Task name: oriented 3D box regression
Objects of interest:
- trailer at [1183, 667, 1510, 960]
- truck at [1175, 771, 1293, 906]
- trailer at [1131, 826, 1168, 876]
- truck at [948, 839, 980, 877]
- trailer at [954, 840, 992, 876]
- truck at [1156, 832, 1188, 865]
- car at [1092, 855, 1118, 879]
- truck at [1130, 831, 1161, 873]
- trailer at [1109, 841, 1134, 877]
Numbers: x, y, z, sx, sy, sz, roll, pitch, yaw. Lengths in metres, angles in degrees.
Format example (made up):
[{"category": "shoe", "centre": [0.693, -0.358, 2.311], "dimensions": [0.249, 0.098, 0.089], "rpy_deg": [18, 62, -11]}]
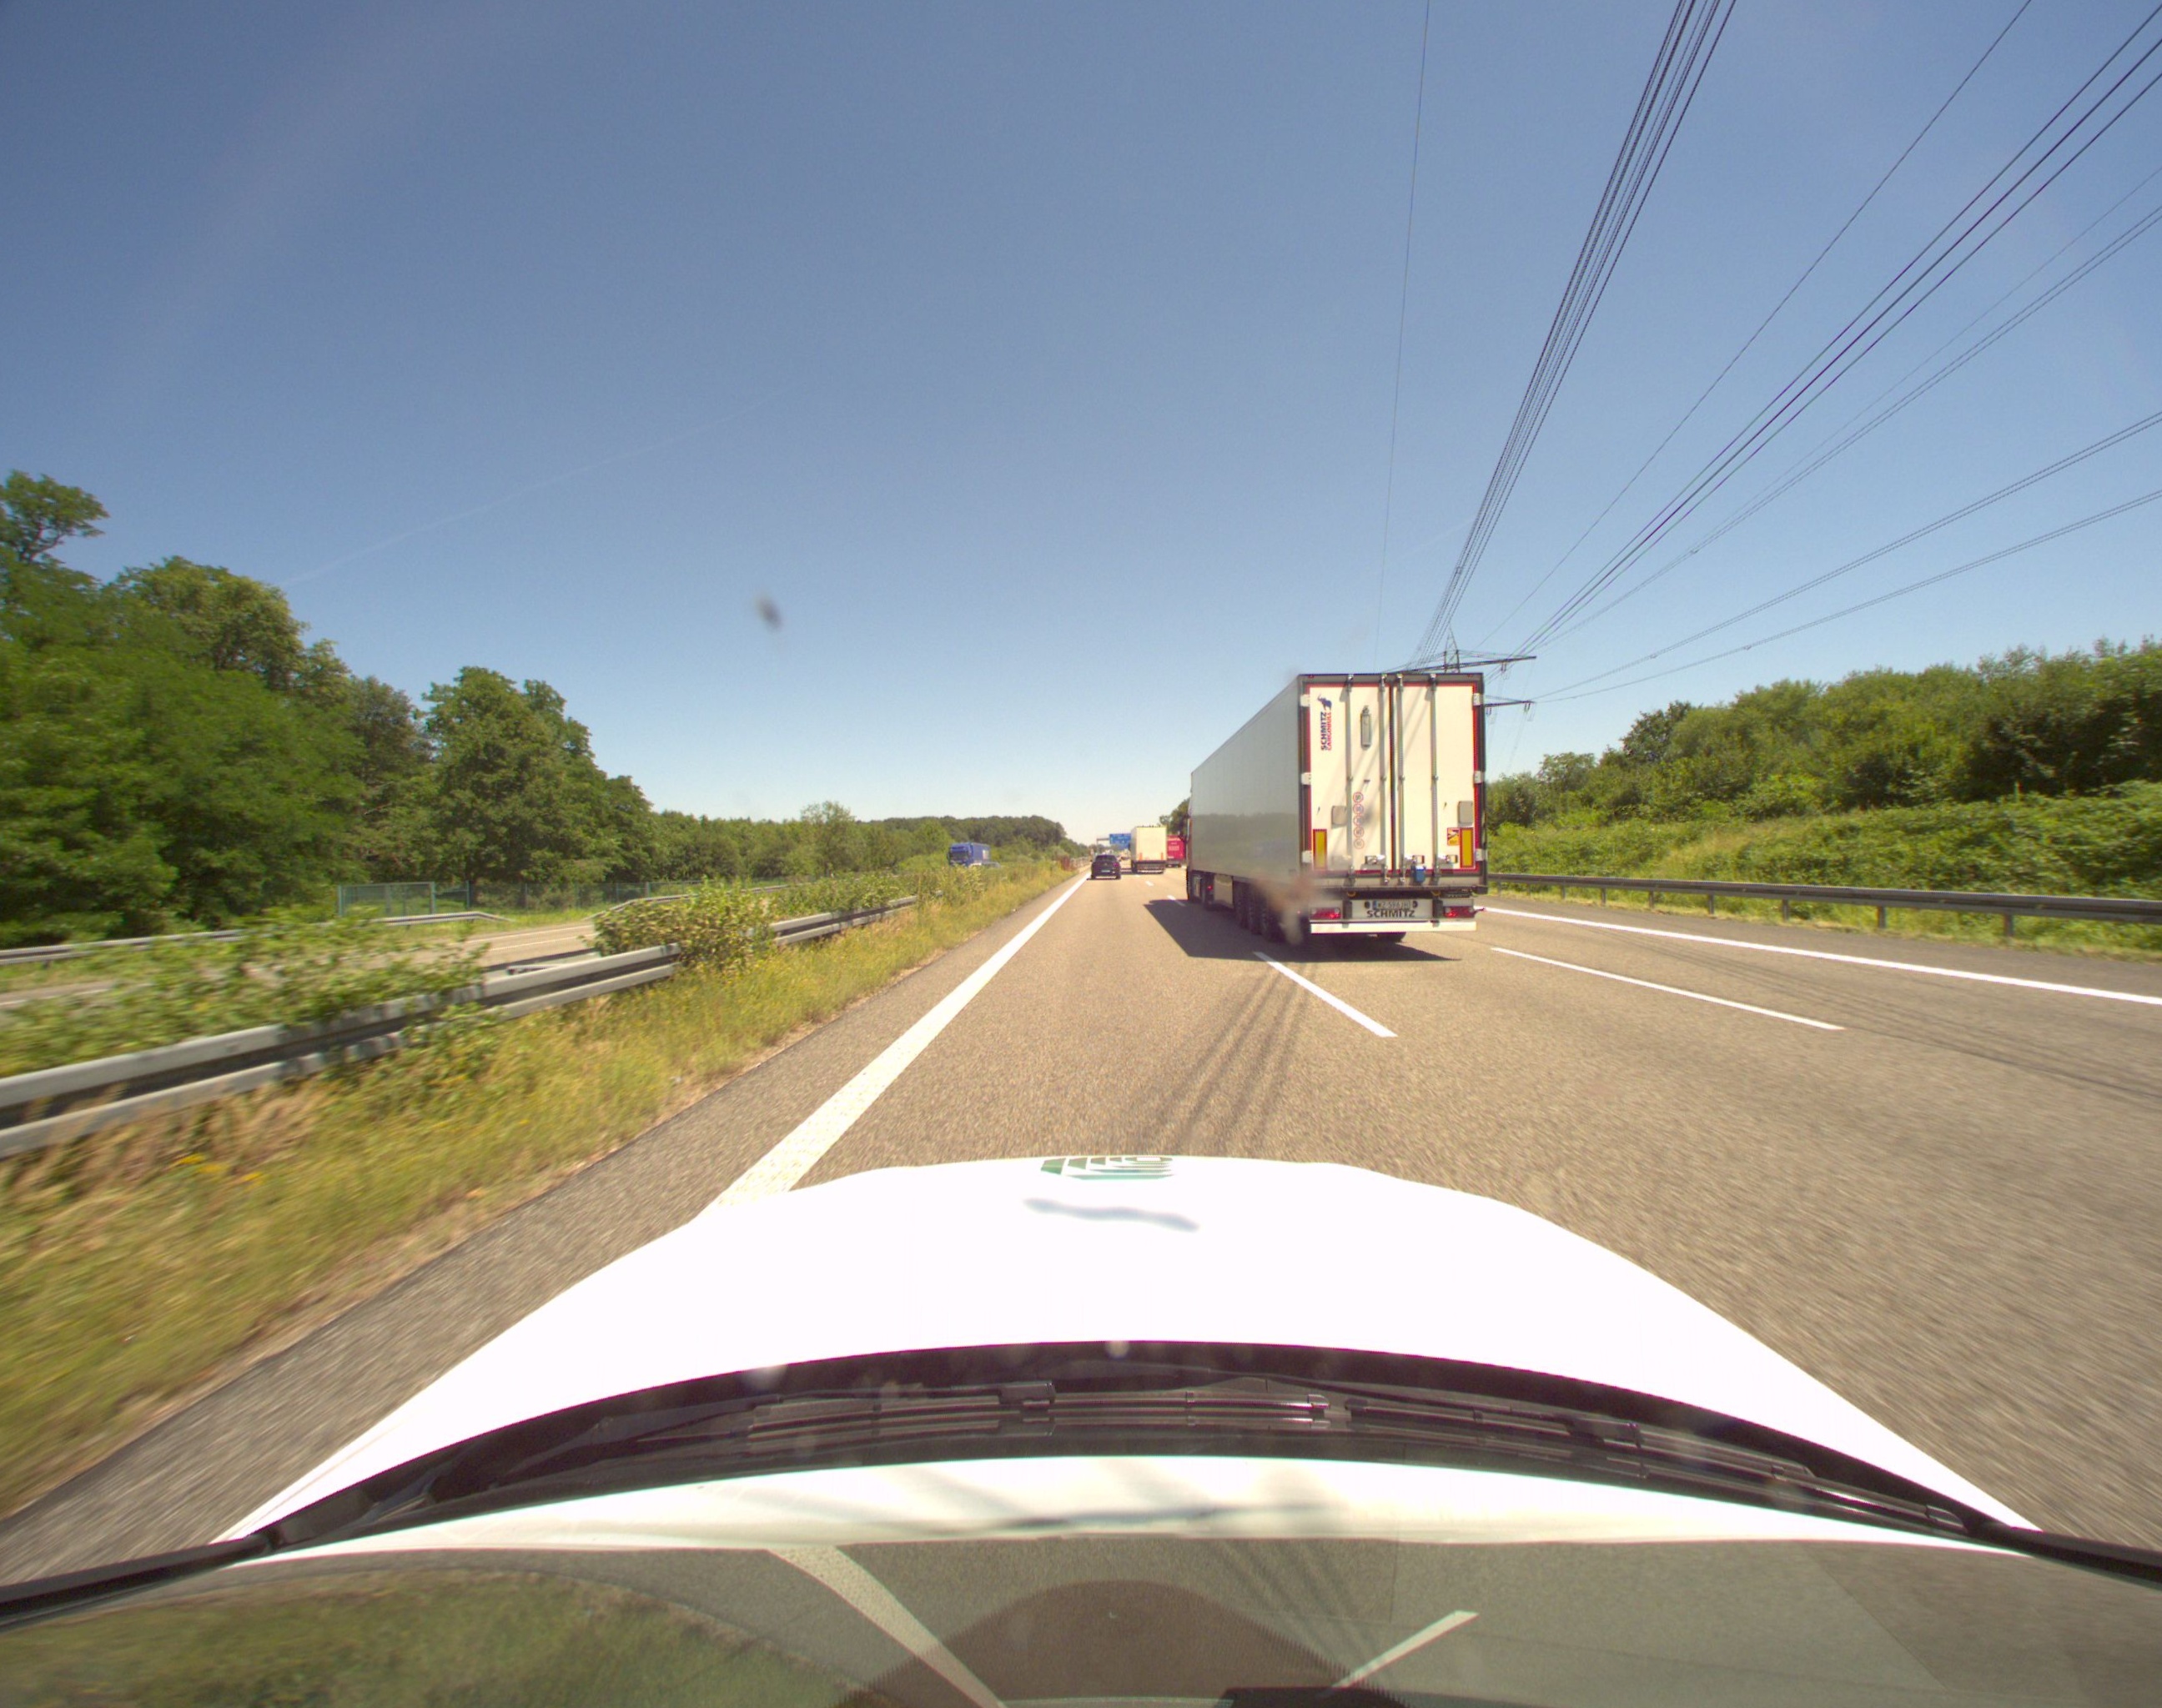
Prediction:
[{"category": "trailer", "centre": [4.660, -0.502, 19.309], "dimensions": [2.926, 4.018, 16.206], "rpy_deg": [0, 0, 2]}, {"category": "truck", "centre": [4.900, -0.444, 27.272], "dimensions": [2.930, 3.986, 6.103], "rpy_deg": [0, -1, 2]}, {"category": "trailer", "centre": [5.996, -0.241, 73.081], "dimensions": [2.784, 4.035, 12.574], "rpy_deg": [-1, 0, 2]}, {"category": "truck", "centre": [-13.810, 0.447, 96.343], "dimensions": [2.457, 4.133, 5.686], "rpy_deg": [-4, 0, 2]}, {"category": "trailer", "centre": [-13.603, 0.497, 103.993], "dimensions": [2.463, 4.131, 13.470], "rpy_deg": [-4, 0, 1]}, {"category": "truck", "centre": [11.917, -0.609, 107.705], "dimensions": [3.044, 4.106, 13.223], "rpy_deg": [0, 0, 2]}, {"category": "car", "centre": [1.632, 0.867, 55.011], "dimensions": [1.654, 1.549, 3.785], "rpy_deg": [-2, 0, 2]}, {"category": "truck", "centre": [6.347, -0.190, 80.576], "dimensions": [2.789, 4.007, 6.024], "rpy_deg": [-1, 0, 2]}, {"category": "trailer", "centre": [4.924, 0.639, 98.769], "dimensions": [2.696, 4.068, 14.756], "rpy_deg": [-1, -1, 3]}]
